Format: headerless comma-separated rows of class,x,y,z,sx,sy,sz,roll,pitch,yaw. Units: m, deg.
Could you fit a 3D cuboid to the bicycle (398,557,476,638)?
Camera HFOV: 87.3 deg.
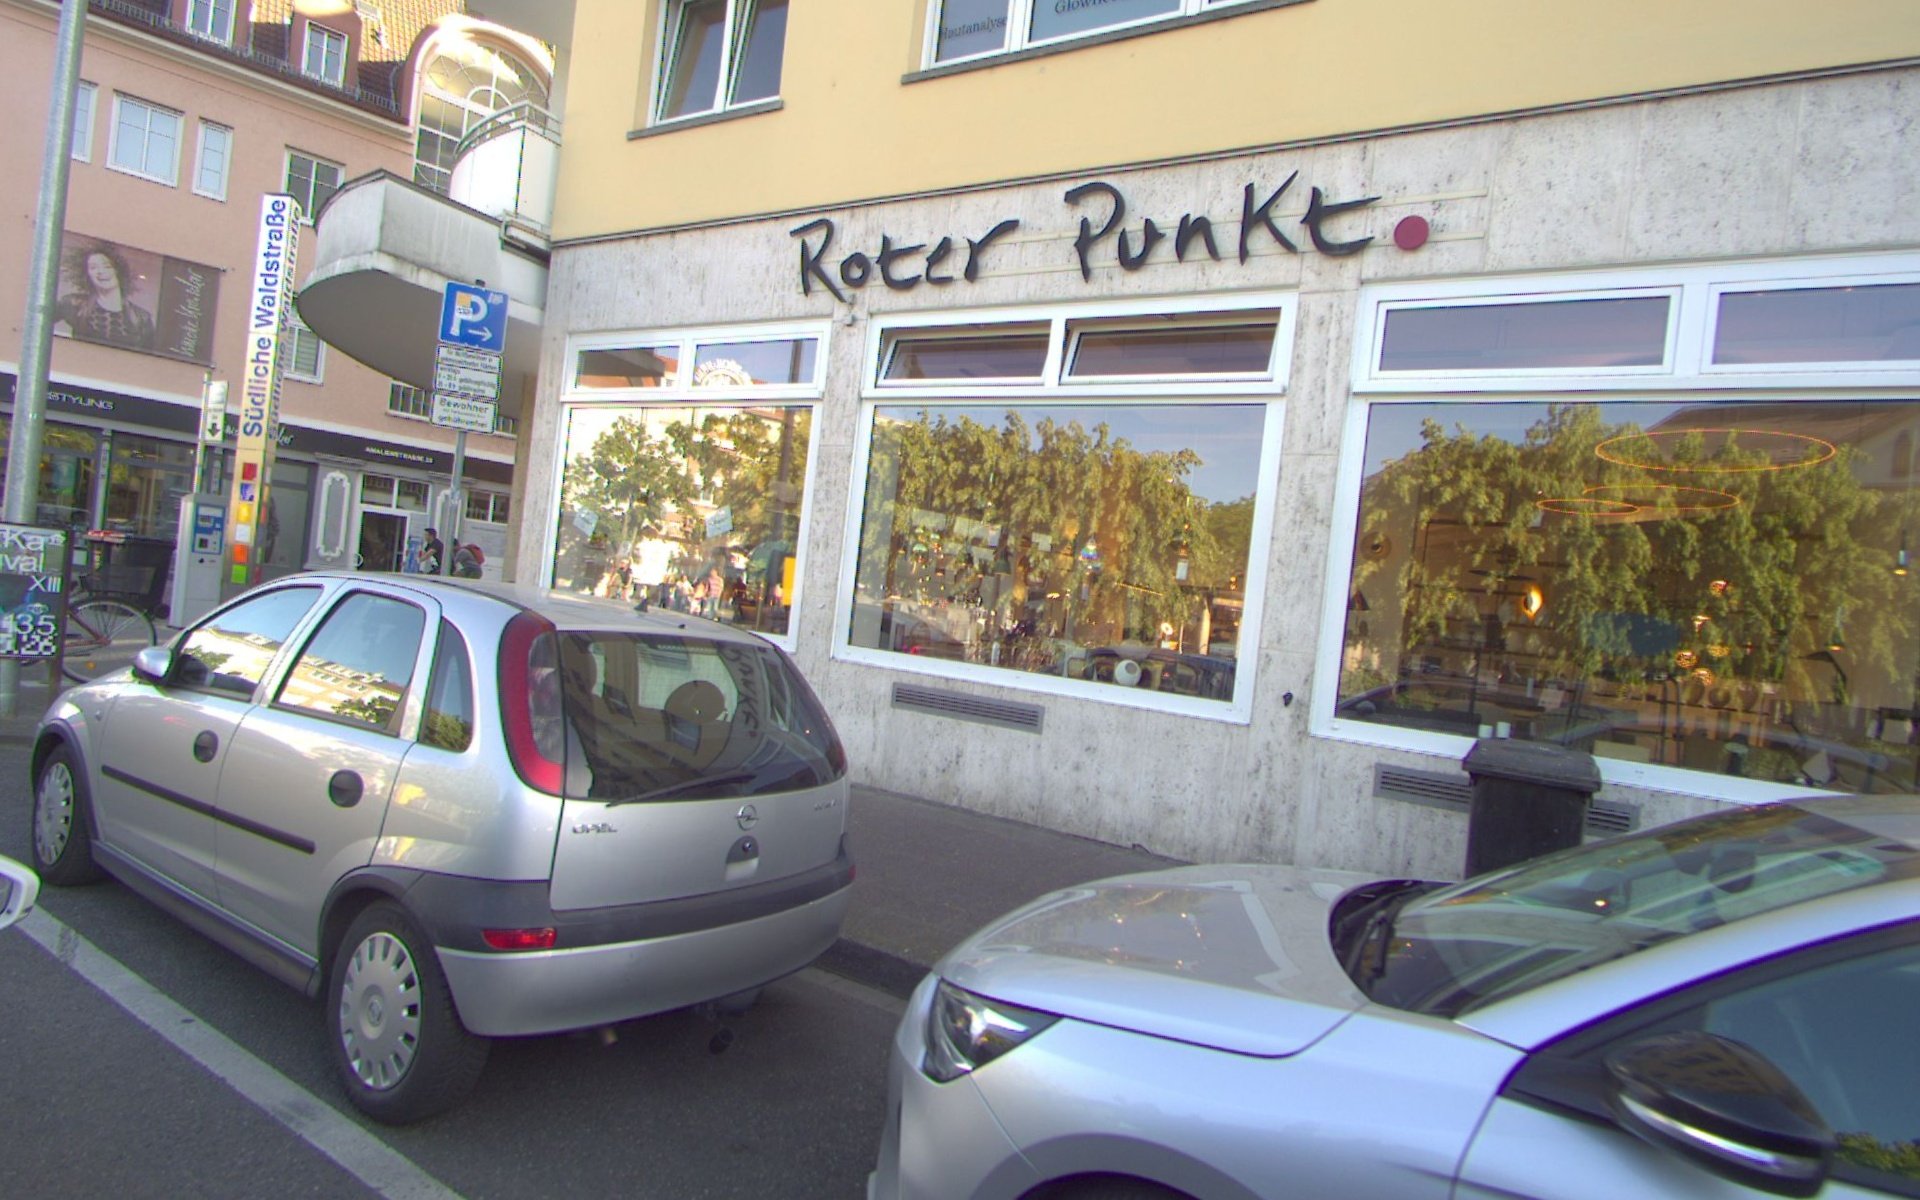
bicycle,-9.004,-0.071,17.260,0.656,1.213,2.188,7,-1,-39

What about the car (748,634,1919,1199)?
car,1.606,1.016,1.785,3.642,1.415,1.653,7,-1,29

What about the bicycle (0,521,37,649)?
bicycle,-9.375,-0.207,8.771,0.770,1.138,1.797,7,1,37

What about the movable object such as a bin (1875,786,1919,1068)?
movable object such as a bin,4.355,1.375,3.973,0.879,1.066,0.752,6,0,32

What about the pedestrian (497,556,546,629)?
pedestrian,-9.985,-0.174,22.899,0.743,1.571,0.692,7,0,-36

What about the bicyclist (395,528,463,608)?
bicyclist,-10.367,-0.631,19.628,0.919,1.431,0.797,7,0,-39

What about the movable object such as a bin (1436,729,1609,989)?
movable object such as a bin,2.769,1.211,4.953,0.592,1.041,0.811,6,0,31

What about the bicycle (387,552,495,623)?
bicycle,-10.710,-0.250,20.799,1.786,1.237,0.673,8,-1,-40

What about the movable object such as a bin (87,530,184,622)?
movable object such as a bin,-11.013,-0.317,13.450,0.617,1.105,0.754,6,-2,33

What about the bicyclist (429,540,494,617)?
bicyclist,-10.414,-0.442,21.018,0.942,1.467,0.797,7,0,-39

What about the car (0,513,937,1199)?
car,-2.091,0.586,3.921,3.583,1.397,1.616,6,-2,32

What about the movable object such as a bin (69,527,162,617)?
movable object such as a bin,-11.549,-0.373,13.771,0.617,1.105,0.734,6,-2,33

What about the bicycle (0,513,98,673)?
bicycle,-8.216,-0.100,8.126,0.778,1.284,1.721,7,1,37

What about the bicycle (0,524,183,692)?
bicycle,-7.210,0.048,7.653,0.681,1.208,1.885,8,1,37

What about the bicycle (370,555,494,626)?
bicycle,-10.330,-0.170,19.703,1.959,1.163,0.782,7,0,-40
